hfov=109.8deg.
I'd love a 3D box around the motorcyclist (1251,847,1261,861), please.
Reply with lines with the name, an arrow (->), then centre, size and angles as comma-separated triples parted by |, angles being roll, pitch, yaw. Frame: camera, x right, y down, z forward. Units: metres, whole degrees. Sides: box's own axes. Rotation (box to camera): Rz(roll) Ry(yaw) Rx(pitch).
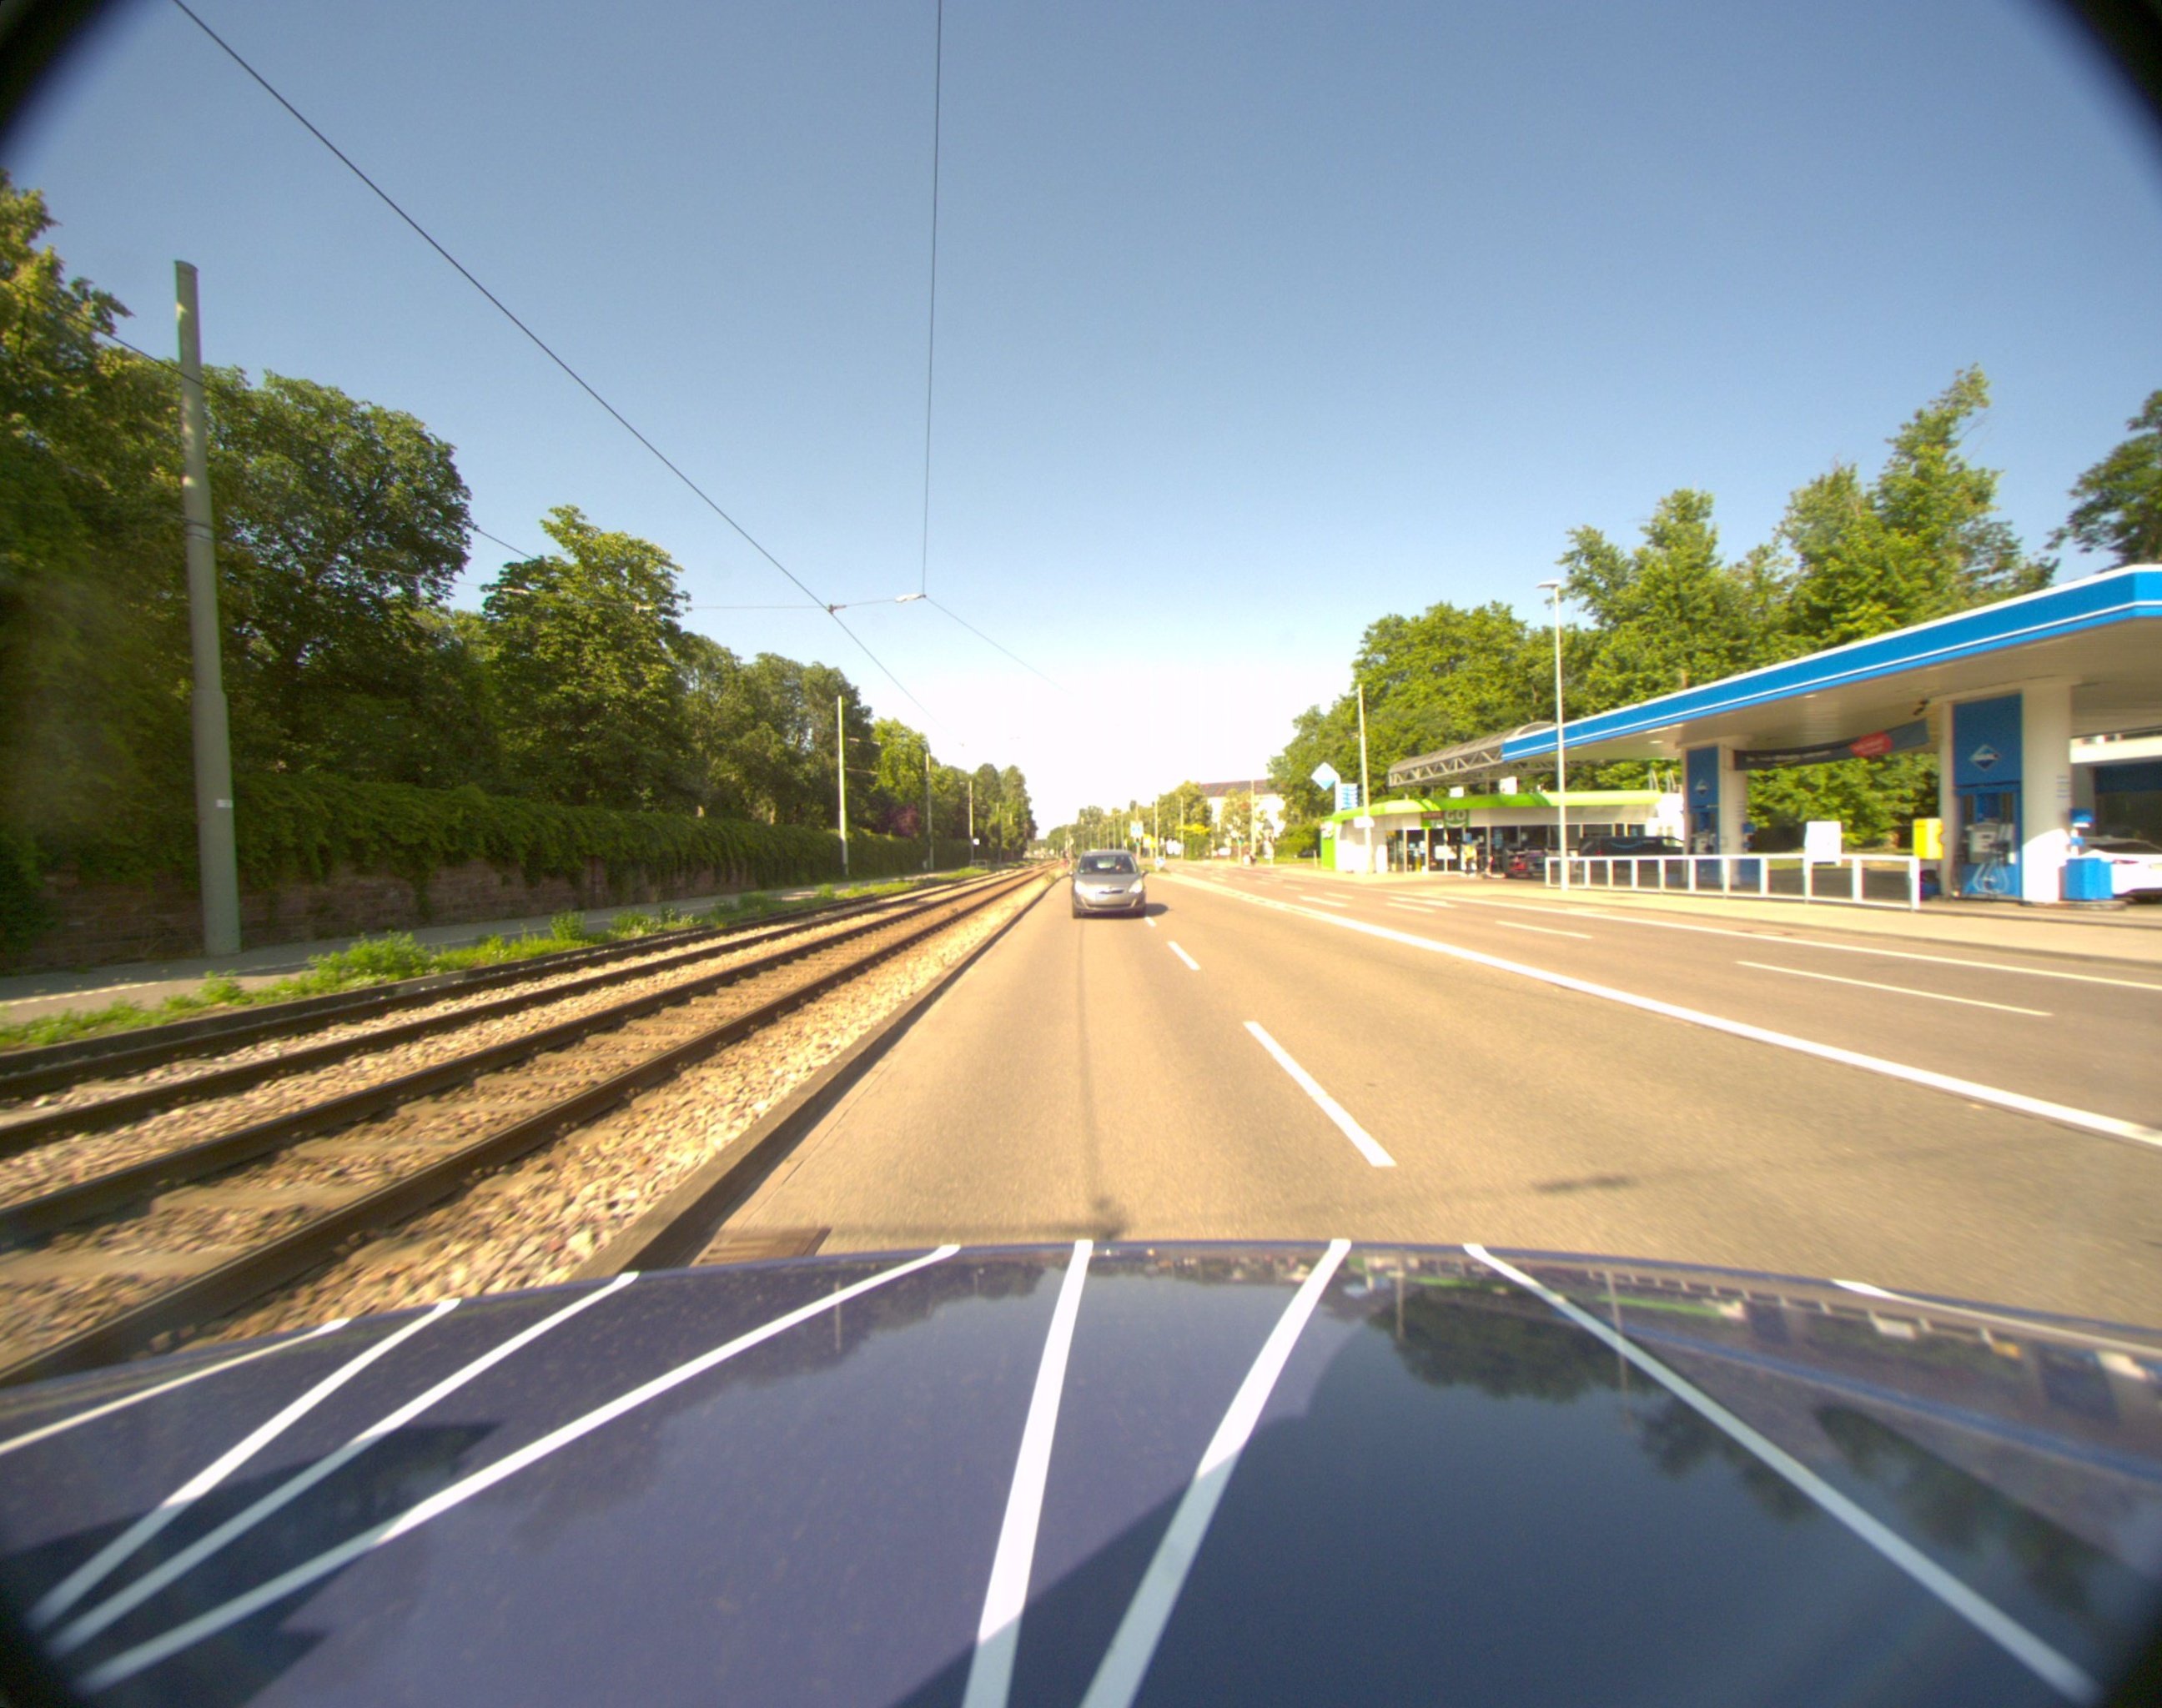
motorcyclist -> 17.997, -0.026, 78.107 | 0.732, 1.380, 0.866 | 0, 1, 34

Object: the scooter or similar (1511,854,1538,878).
scooter or similar -> 20.641, 0.560, 35.385 | 1.031, 1.103, 0.350 | -1, 1, 7

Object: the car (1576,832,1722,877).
car -> 25.649, 0.027, 34.437 | 5.082, 1.929, 1.858 | -1, 0, 5

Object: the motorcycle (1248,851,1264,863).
motorcycle -> 18.002, 0.288, 78.120 | 0.732, 1.221, 2.268 | 0, 0, 34

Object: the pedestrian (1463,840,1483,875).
pedestrian -> 19.183, 0.174, 37.215 | 0.605, 1.721, 0.661 | -1, 1, -33

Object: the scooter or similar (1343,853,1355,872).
scooter or similar -> 16.573, 0.538, 46.929 | 0.350, 1.154, 1.144 | -1, 0, 2

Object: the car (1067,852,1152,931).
car -> 0.603, 0.772, 17.490 | 1.730, 1.574, 3.763 | -1, 1, 1

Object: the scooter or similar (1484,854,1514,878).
scooter or similar -> 19.523, 0.561, 35.491 | 1.143, 1.110, 0.350 | -1, 1, 10

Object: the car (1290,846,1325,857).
car -> 30.349, -0.319, 101.728 | 4.196, 1.434, 1.690 | -1, 0, 3

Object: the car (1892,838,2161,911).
car -> 21.935, 0.404, 17.615 | 1.741, 1.482, 4.275 | -1, 0, 1
